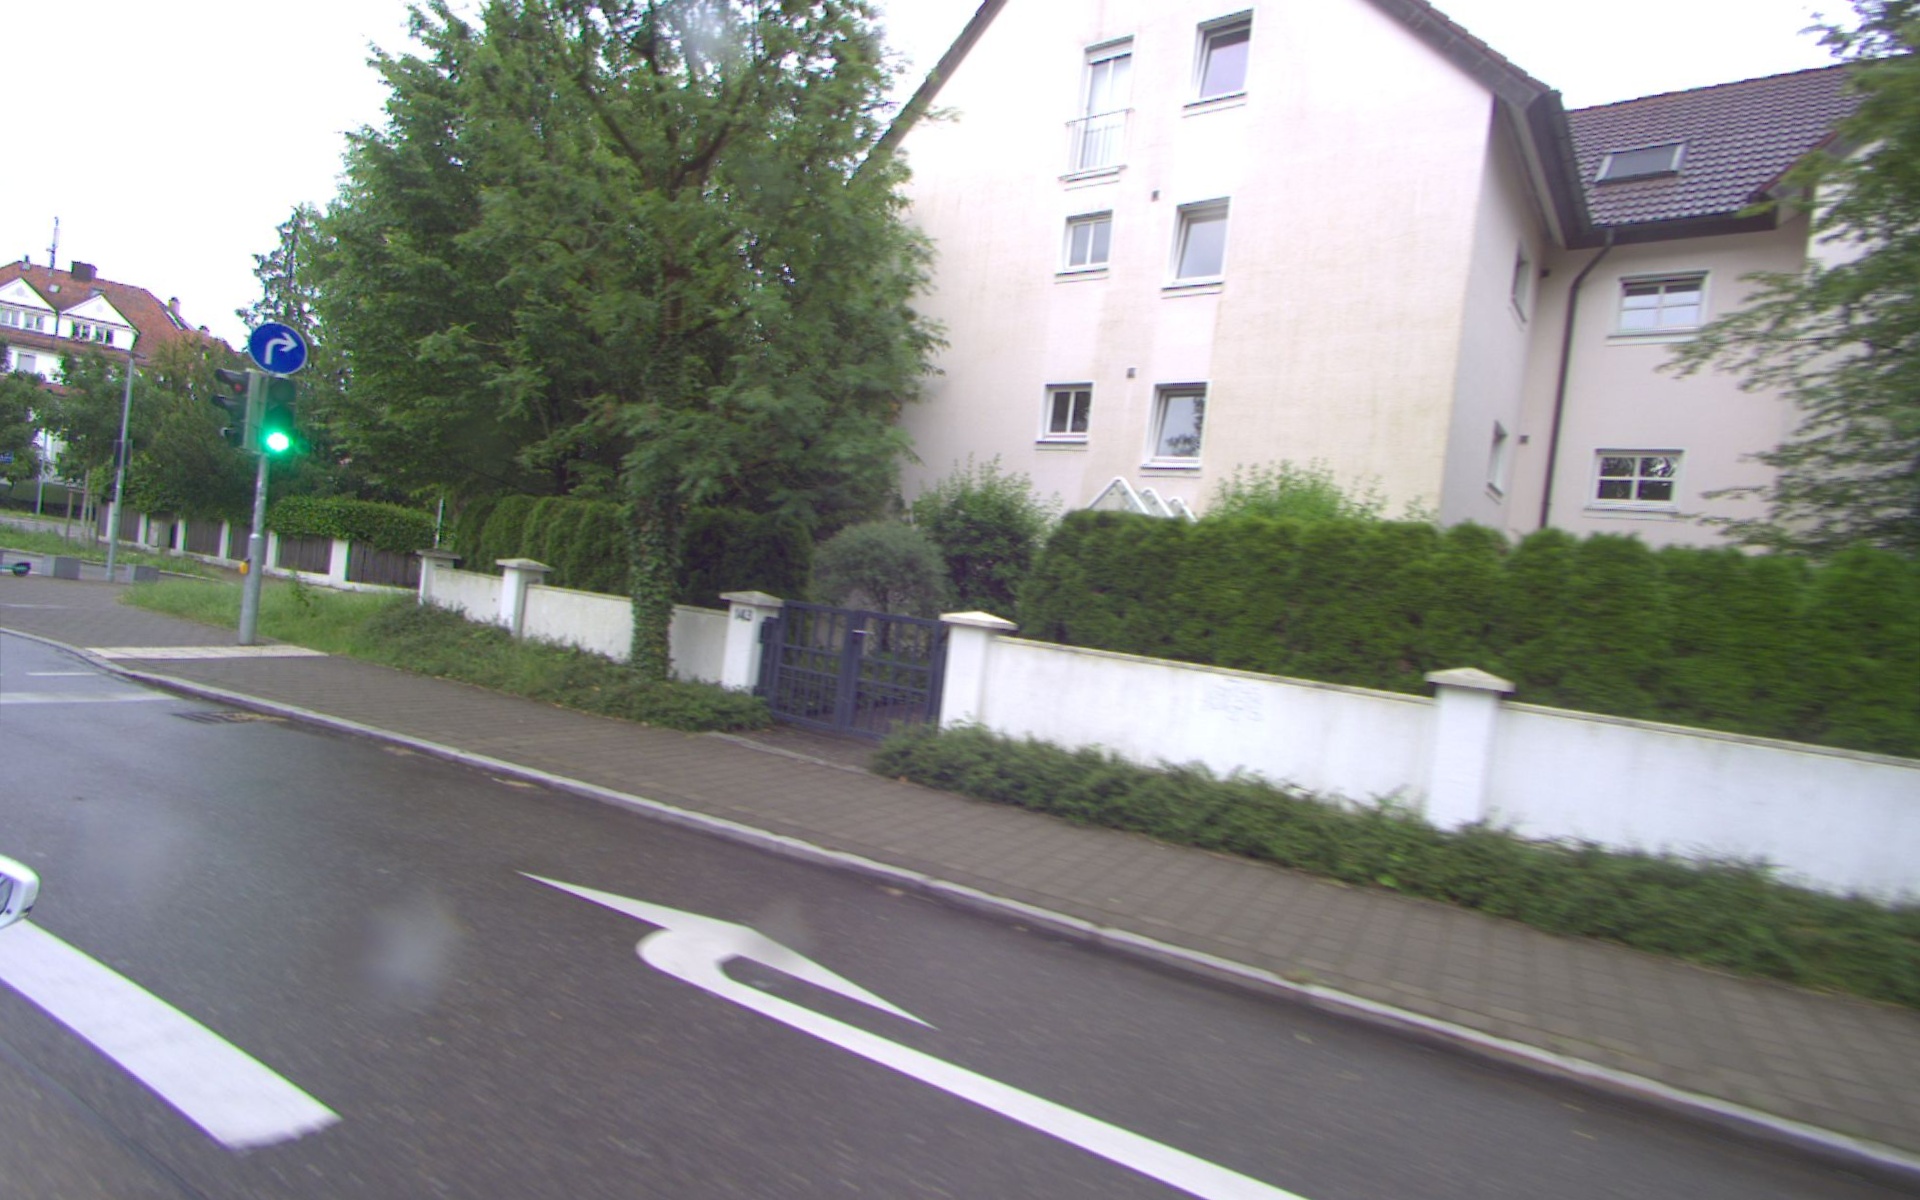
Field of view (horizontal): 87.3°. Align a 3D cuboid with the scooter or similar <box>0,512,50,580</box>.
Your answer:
[{"bbox_3d":[-18.598,-1.086,19.410,0.515,1.220,1.353,6,-2,23],"label":"scooter or similar"}]
